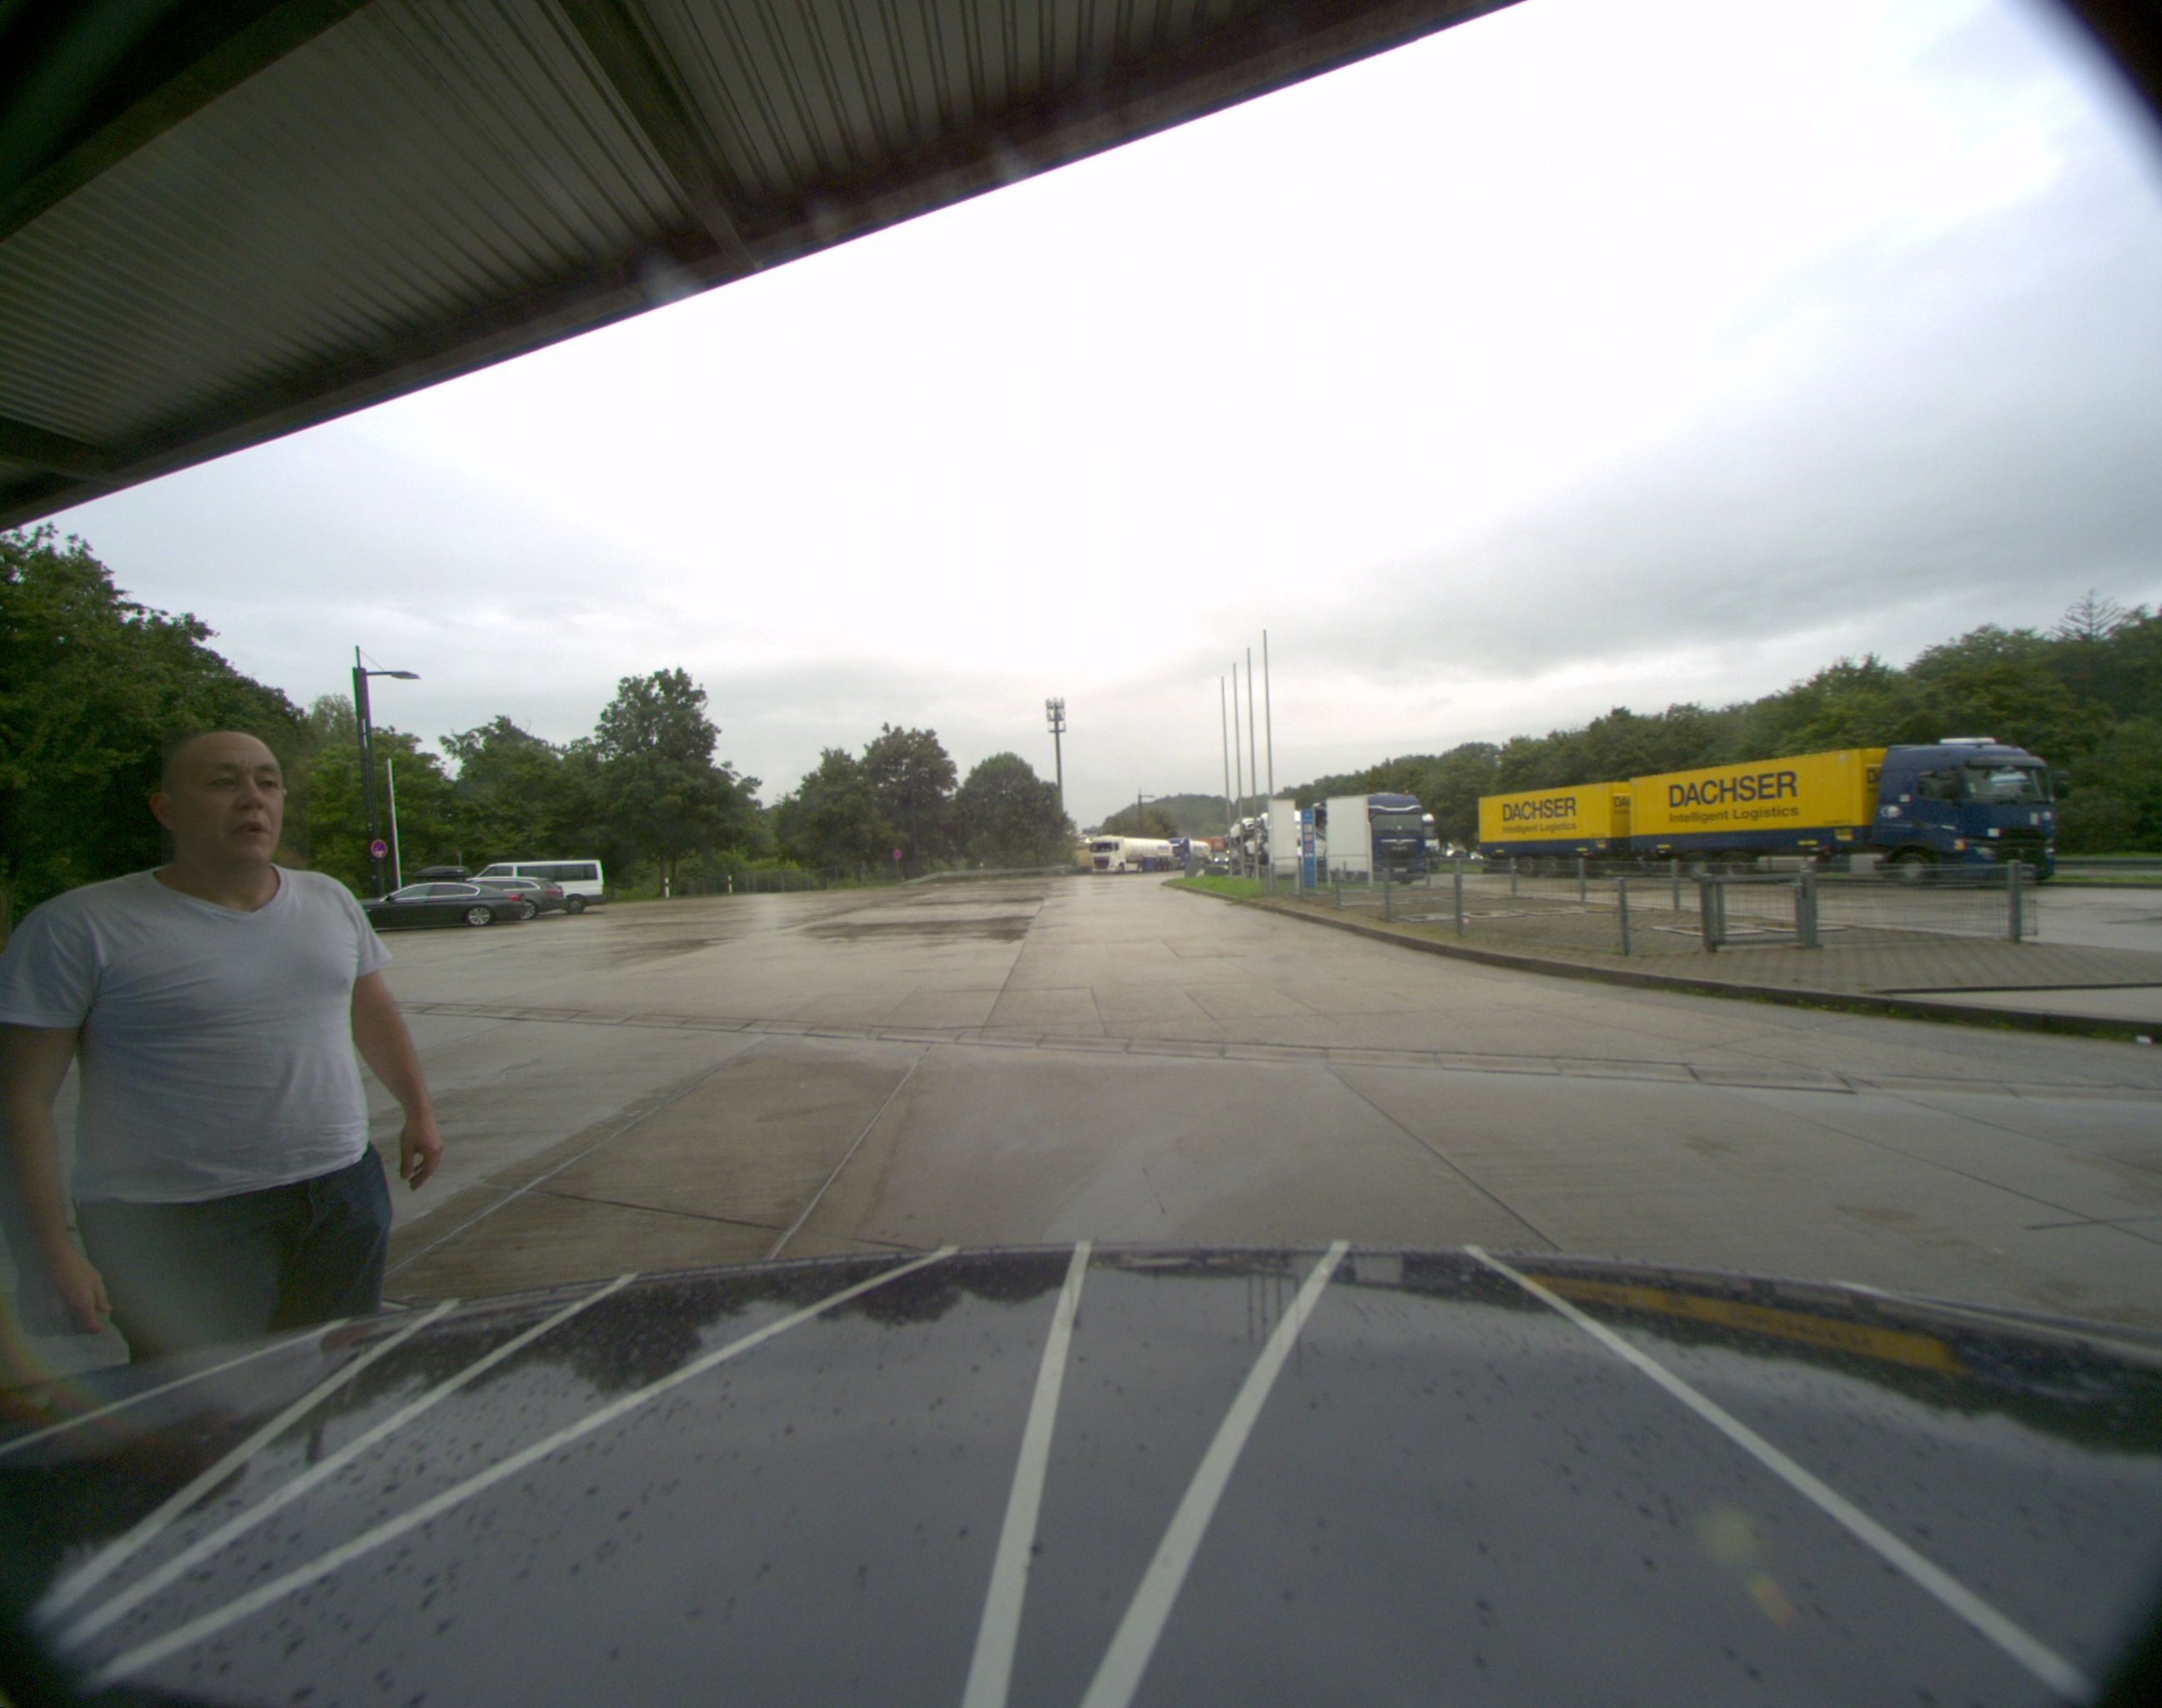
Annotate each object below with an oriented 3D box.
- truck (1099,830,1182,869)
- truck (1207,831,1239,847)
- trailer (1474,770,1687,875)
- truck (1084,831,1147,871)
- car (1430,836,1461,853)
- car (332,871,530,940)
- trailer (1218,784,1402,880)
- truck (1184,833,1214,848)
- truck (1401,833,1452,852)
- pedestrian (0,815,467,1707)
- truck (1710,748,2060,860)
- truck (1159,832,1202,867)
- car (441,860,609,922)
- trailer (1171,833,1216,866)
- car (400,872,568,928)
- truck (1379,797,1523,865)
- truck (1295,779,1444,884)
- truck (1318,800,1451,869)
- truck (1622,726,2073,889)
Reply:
[{"bbox_3d":[6.188,-0.524,76.369,3.243,3.544,11.995,-2,1,31],"label":"truck"},{"bbox_3d":[33.289,-3.514,178.812,3.251,3.544,14.654,-1,1,-7],"label":"truck"},{"bbox_3d":[21.777,-1.276,34.013,2.774,4.009,8.853,-2,1,-8],"label":"trailer"},{"bbox_3d":[3.305,-0.358,71.457,3.243,3.544,6.114,-2,1,31],"label":"truck"},{"bbox_3d":[51.399,-1.290,107.294,1.774,2.278,4.503,-2,0,-8],"label":"car"},{"bbox_3d":[-19.128,1.448,22.658,4.187,1.720,1.995,-2,0,-33],"label":"car"},{"bbox_3d":[11.367,-1.001,40.959,2.990,4.009,16.597,-2,1,-7],"label":"trailer"},{"bbox_3d":[30.803,-3.554,199.479,3.251,3.543,16.548,-2,1,-7],"label":"truck"},{"bbox_3d":[44.918,-1.479,98.977,3.135,2.290,6.172,-2,0,-7],"label":"truck"},{"bbox_3d":[-1.734,0.840,1.428,0.493,1.800,0.634,-2,2,10],"label":"pedestrian"},{"bbox_3d":[33.765,-1.876,32.954,2.991,4.009,10.464,-2,1,-10],"label":"truck"},{"bbox_3d":[11.316,-0.526,85.754,3.045,3.745,6.475,-2,1,23],"label":"truck"},{"bbox_3d":[-20.270,1.280,27.930,4.780,1.974,2.010,-2,0,-36],"label":"car"},{"bbox_3d":[13.655,-0.654,91.462,2.898,3.618,10.586,-2,1,22],"label":"trailer"},{"bbox_3d":[-19.660,1.451,25.299,4.187,1.547,1.995,-2,0,-33],"label":"car"},{"bbox_3d":[24.353,-1.404,50.977,2.991,4.009,10.464,-2,1,-10],"label":"truck"},{"bbox_3d":[12.296,-0.924,33.268,2.990,4.009,7.259,-2,1,-7],"label":"truck"},{"bbox_3d":[19.750,-1.221,50.453,2.991,4.009,10.464,-2,1,-10],"label":"truck"},{"bbox_3d":[23.055,-1.215,24.330,2.774,4.009,10.632,-2,1,-8],"label":"truck"}]
